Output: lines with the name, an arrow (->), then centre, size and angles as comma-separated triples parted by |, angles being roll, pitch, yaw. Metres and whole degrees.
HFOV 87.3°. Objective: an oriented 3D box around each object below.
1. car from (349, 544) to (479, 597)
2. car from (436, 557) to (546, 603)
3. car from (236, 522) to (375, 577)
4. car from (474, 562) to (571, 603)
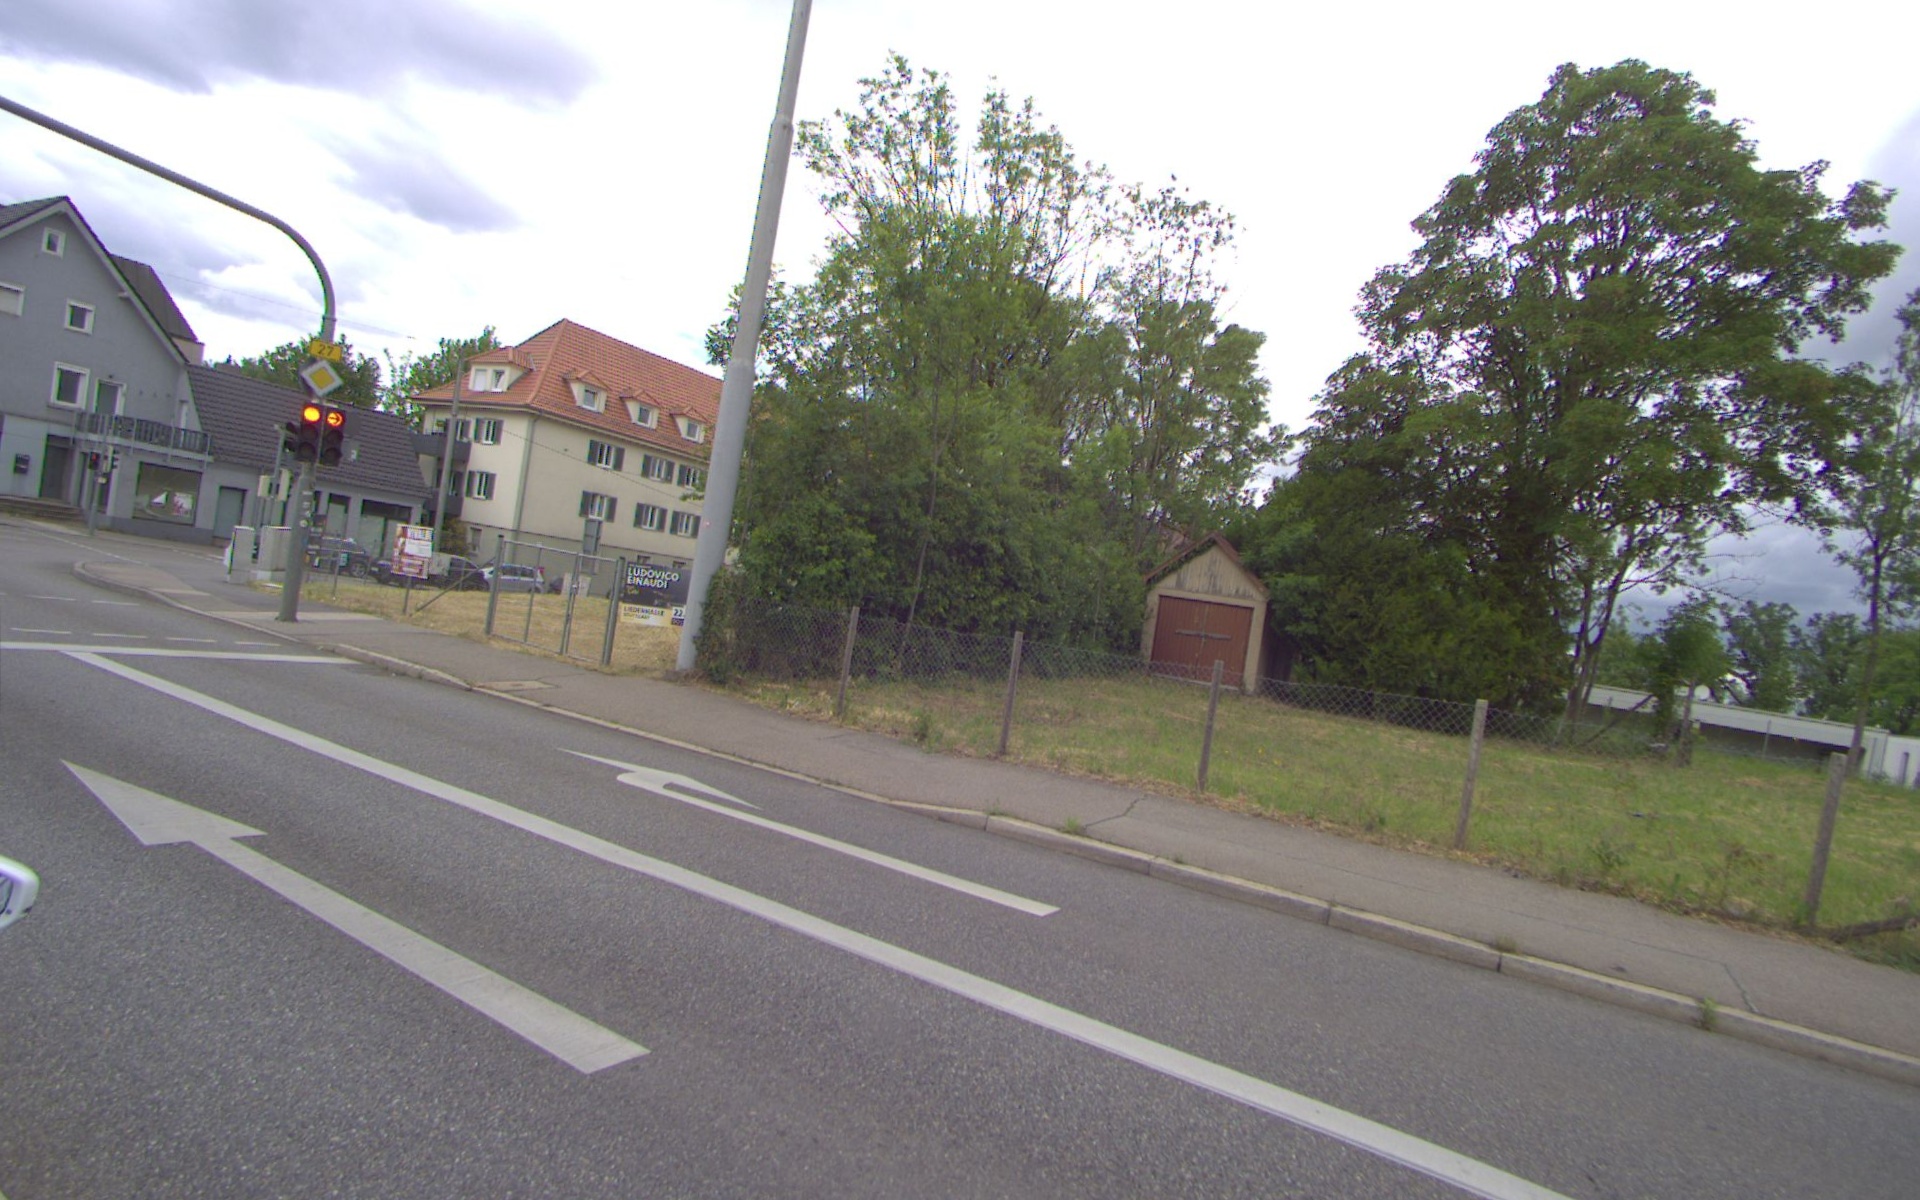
car -> -21.581, -1.135, 39.892 | 1.769, 1.386, 4.099 | 8, -3, 31
car -> -21.088, -0.886, 45.391 | 1.769, 1.386, 4.099 | 8, -3, 31
car -> -25.594, -1.943, 39.488 | 1.769, 1.386, 4.099 | 8, -3, 31
car -> -21.952, -0.864, 50.647 | 1.769, 1.386, 4.099 | 8, -3, 31
